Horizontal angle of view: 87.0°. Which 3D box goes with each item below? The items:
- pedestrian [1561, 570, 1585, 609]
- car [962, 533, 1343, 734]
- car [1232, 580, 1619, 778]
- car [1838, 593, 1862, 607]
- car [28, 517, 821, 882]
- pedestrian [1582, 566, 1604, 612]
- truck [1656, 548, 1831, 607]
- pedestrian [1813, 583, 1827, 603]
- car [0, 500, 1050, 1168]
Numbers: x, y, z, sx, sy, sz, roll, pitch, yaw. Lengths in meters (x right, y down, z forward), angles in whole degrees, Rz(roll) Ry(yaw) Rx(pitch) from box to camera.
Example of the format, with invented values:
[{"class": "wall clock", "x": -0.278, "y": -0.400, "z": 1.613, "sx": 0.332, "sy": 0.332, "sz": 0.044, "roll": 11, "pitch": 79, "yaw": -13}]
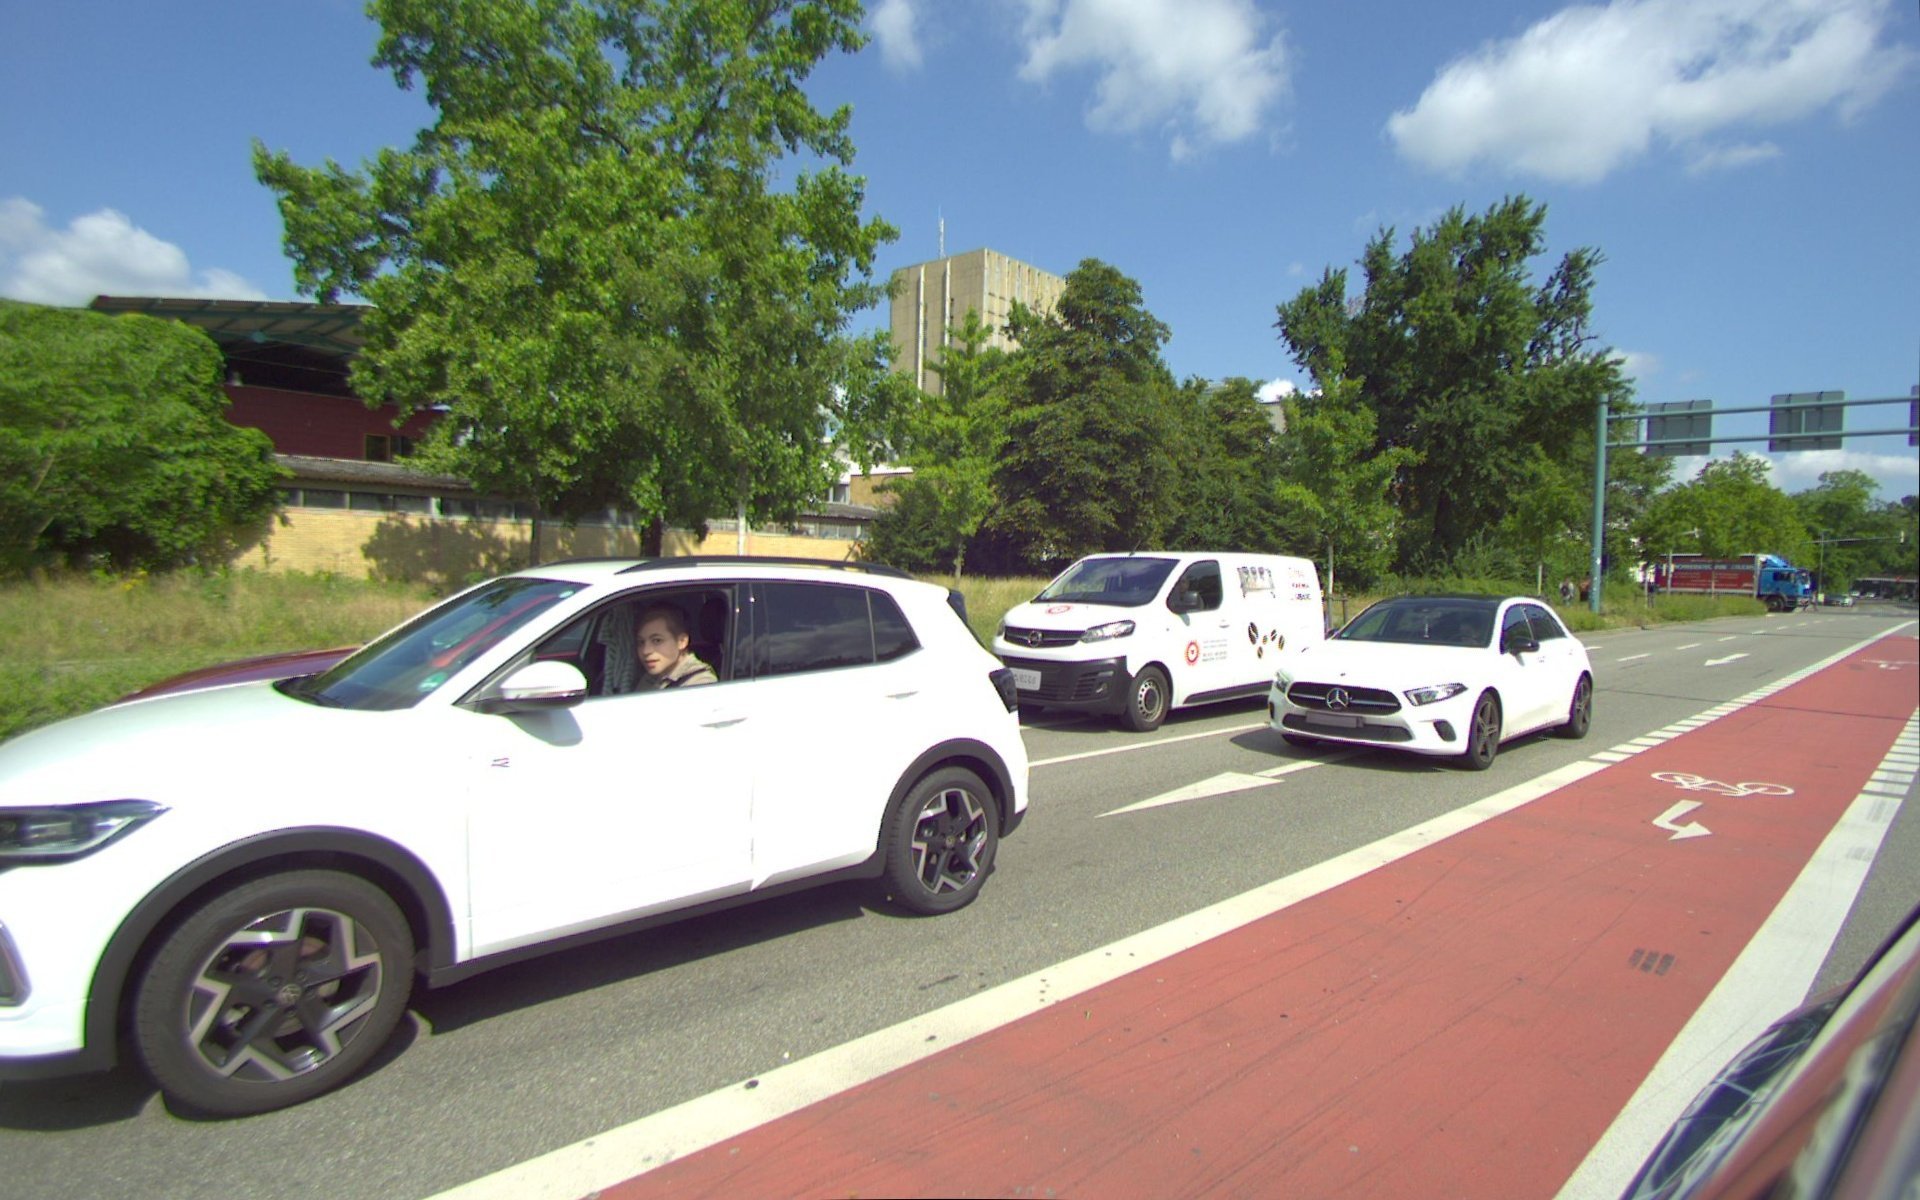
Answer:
[{"class": "pedestrian", "x": 25.216, "y": -0.442, "z": 41.641, "sx": 0.696, "sy": 1.600, "sz": 0.623, "roll": 0, "pitch": 2, "yaw": -44}, {"class": "car", "x": 2.421, "y": 0.267, "z": 11.849, "sx": 4.744, "sy": 1.893, "sz": 1.945, "roll": 0, "pitch": 2, "yaw": -43}, {"class": "car", "x": 4.660, "y": 0.577, "z": 9.815, "sx": 4.311, "sy": 1.441, "sz": 1.906, "roll": 0, "pitch": 2, "yaw": -43}, {"class": "car", "x": 97.448, "y": -0.047, "z": 110.827, "sx": 1.703, "sy": 1.345, "sz": 3.943, "roll": 6, "pitch": 4, "yaw": 40}, {"class": "car", "x": -3.217, "y": 0.412, "z": 6.740, "sx": 4.389, "sy": 1.661, "sz": 1.683, "roll": 0, "pitch": 2, "yaw": -44}, {"class": "pedestrian", "x": 25.659, "y": -0.453, "z": 41.045, "sx": 0.628, "sy": 1.824, "sz": 0.567, "roll": 0, "pitch": 2, "yaw": -44}, {"class": "truck", "x": 54.273, "y": -1.684, "z": 70.439, "sx": 2.616, "sy": 3.846, "sz": 9.191, "roll": 0, "pitch": 2, "yaw": -36}, {"class": "pedestrian", "x": 70.019, "y": -0.567, "z": 82.404, "sx": 0.628, "sy": 1.670, "sz": 0.741, "roll": 1, "pitch": 2, "yaw": -41}, {"class": "car", "x": -1.603, "y": 0.525, "z": 4.198, "sx": 3.944, "sy": 1.559, "sz": 1.793, "roll": 0, "pitch": 1, "yaw": -43}]
